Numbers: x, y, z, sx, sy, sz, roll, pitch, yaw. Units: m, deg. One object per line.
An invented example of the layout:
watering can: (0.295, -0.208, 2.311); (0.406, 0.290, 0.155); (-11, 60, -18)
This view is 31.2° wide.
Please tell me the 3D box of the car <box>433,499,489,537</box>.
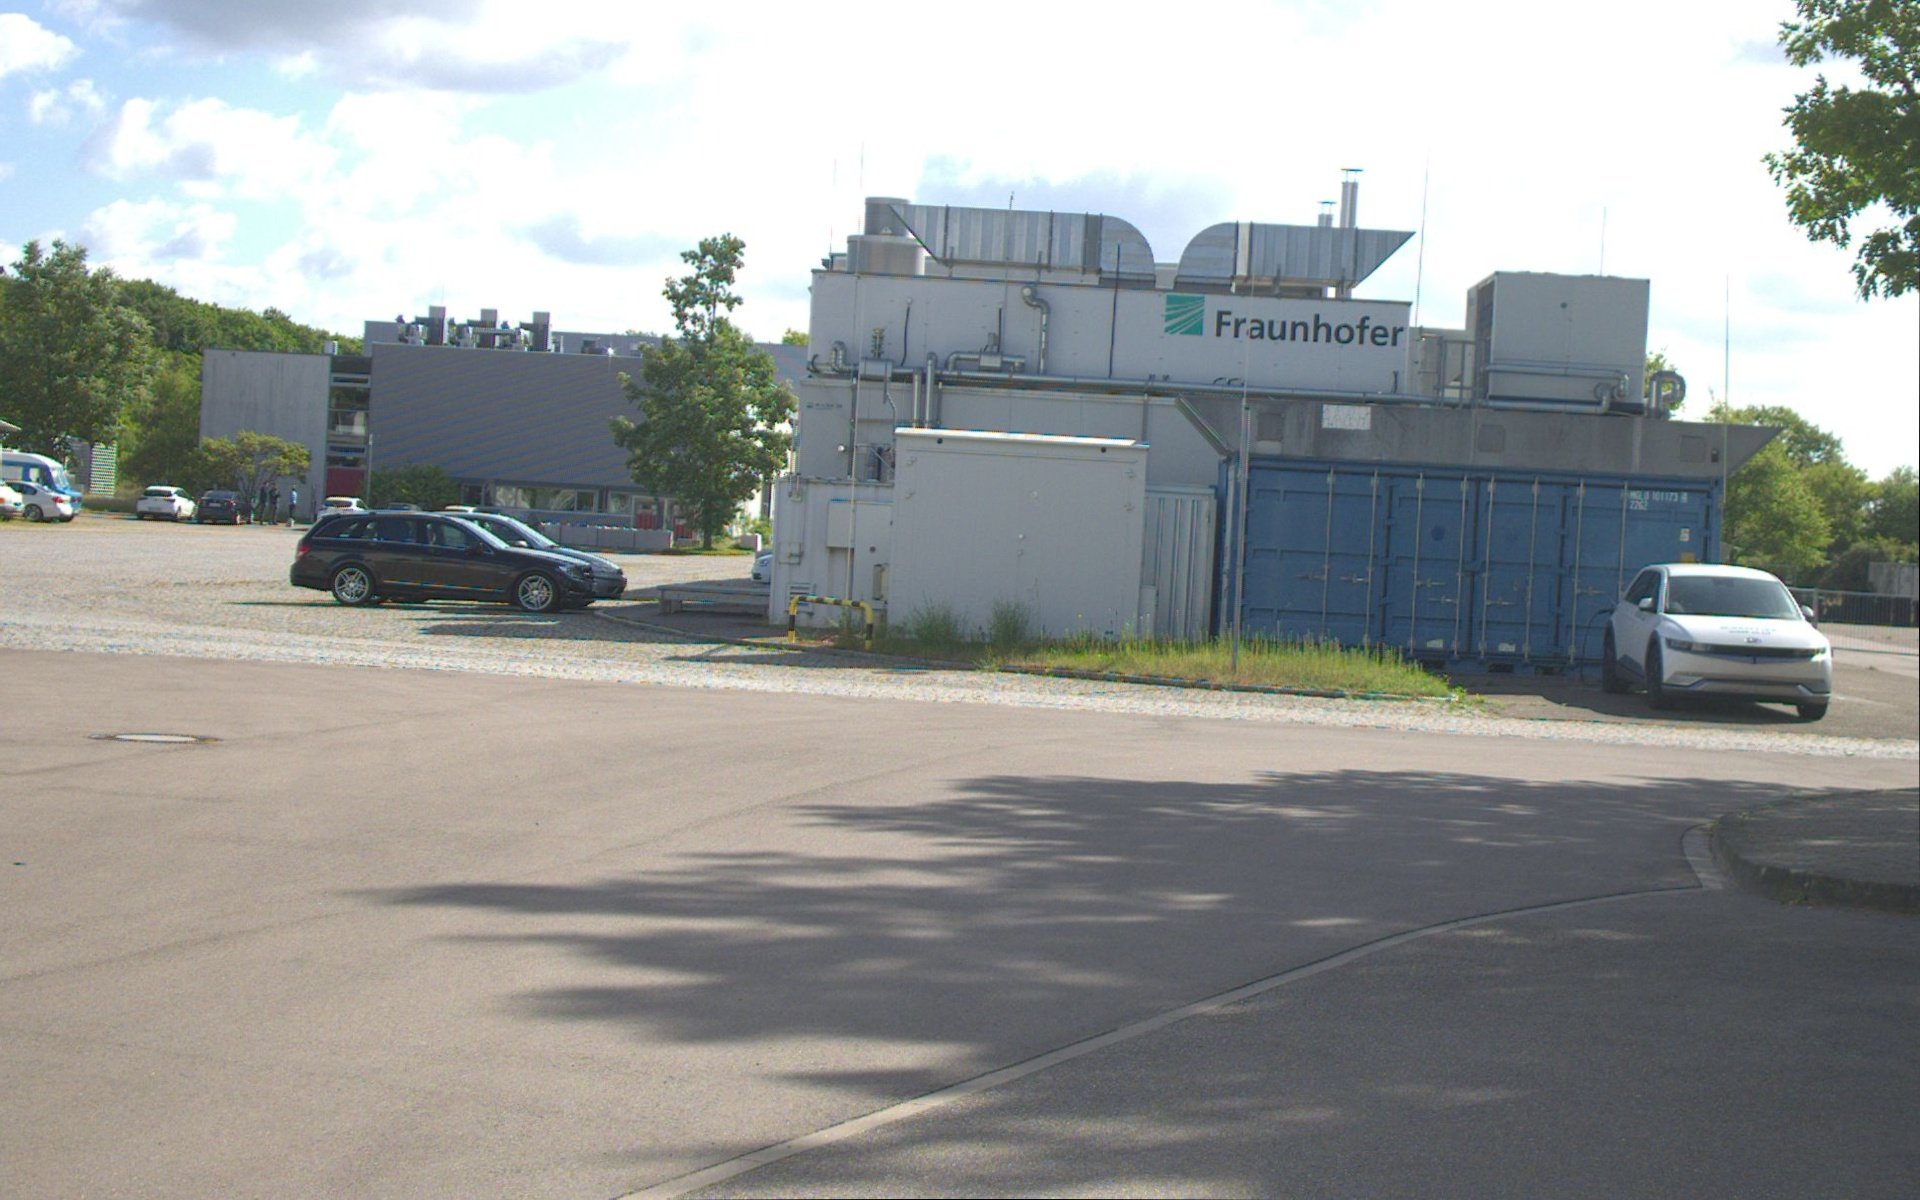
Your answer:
car: (-21.685, -3.553, 149.576); (1.877, 1.532, 4.036); (1, 1, -1)

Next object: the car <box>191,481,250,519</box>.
car: (-32.137, -4.349, 149.584); (1.877, 1.532, 4.036); (1, 1, -3)

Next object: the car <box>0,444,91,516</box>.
car: (-34.886, -4.466, 126.257); (5.259, 2.433, 2.049); (4, 1, 6)

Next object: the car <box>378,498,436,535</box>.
car: (-24.017, -3.607, 149.429); (1.877, 1.532, 4.036); (1, 1, -1)

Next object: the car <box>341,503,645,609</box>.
car: (-7.472, -0.689, 55.335); (4.530, 1.438, 1.904); (3, -1, 2)

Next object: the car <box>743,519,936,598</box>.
car: (-2.769, -0.953, 79.684); (4.279, 1.564, 1.987); (3, -1, 2)

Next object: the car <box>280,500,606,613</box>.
car: (-7.794, -0.642, 52.086); (4.530, 1.438, 1.987); (3, -1, 2)

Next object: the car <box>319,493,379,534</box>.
car: (-26.577, -3.746, 149.660); (1.877, 1.684, 4.036); (1, 1, -1)

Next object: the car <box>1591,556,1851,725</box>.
car: (8.543, 0.405, 38.971); (1.981, 1.588, 4.341); (3, 2, 1)

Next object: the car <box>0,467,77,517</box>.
car: (-34.007, -3.917, 123.294); (4.111, 1.625, 1.807); (4, 1, 6)

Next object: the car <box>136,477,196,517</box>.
car: (-34.585, -4.475, 149.779); (1.846, 1.663, 4.134); (1, 1, -3)
